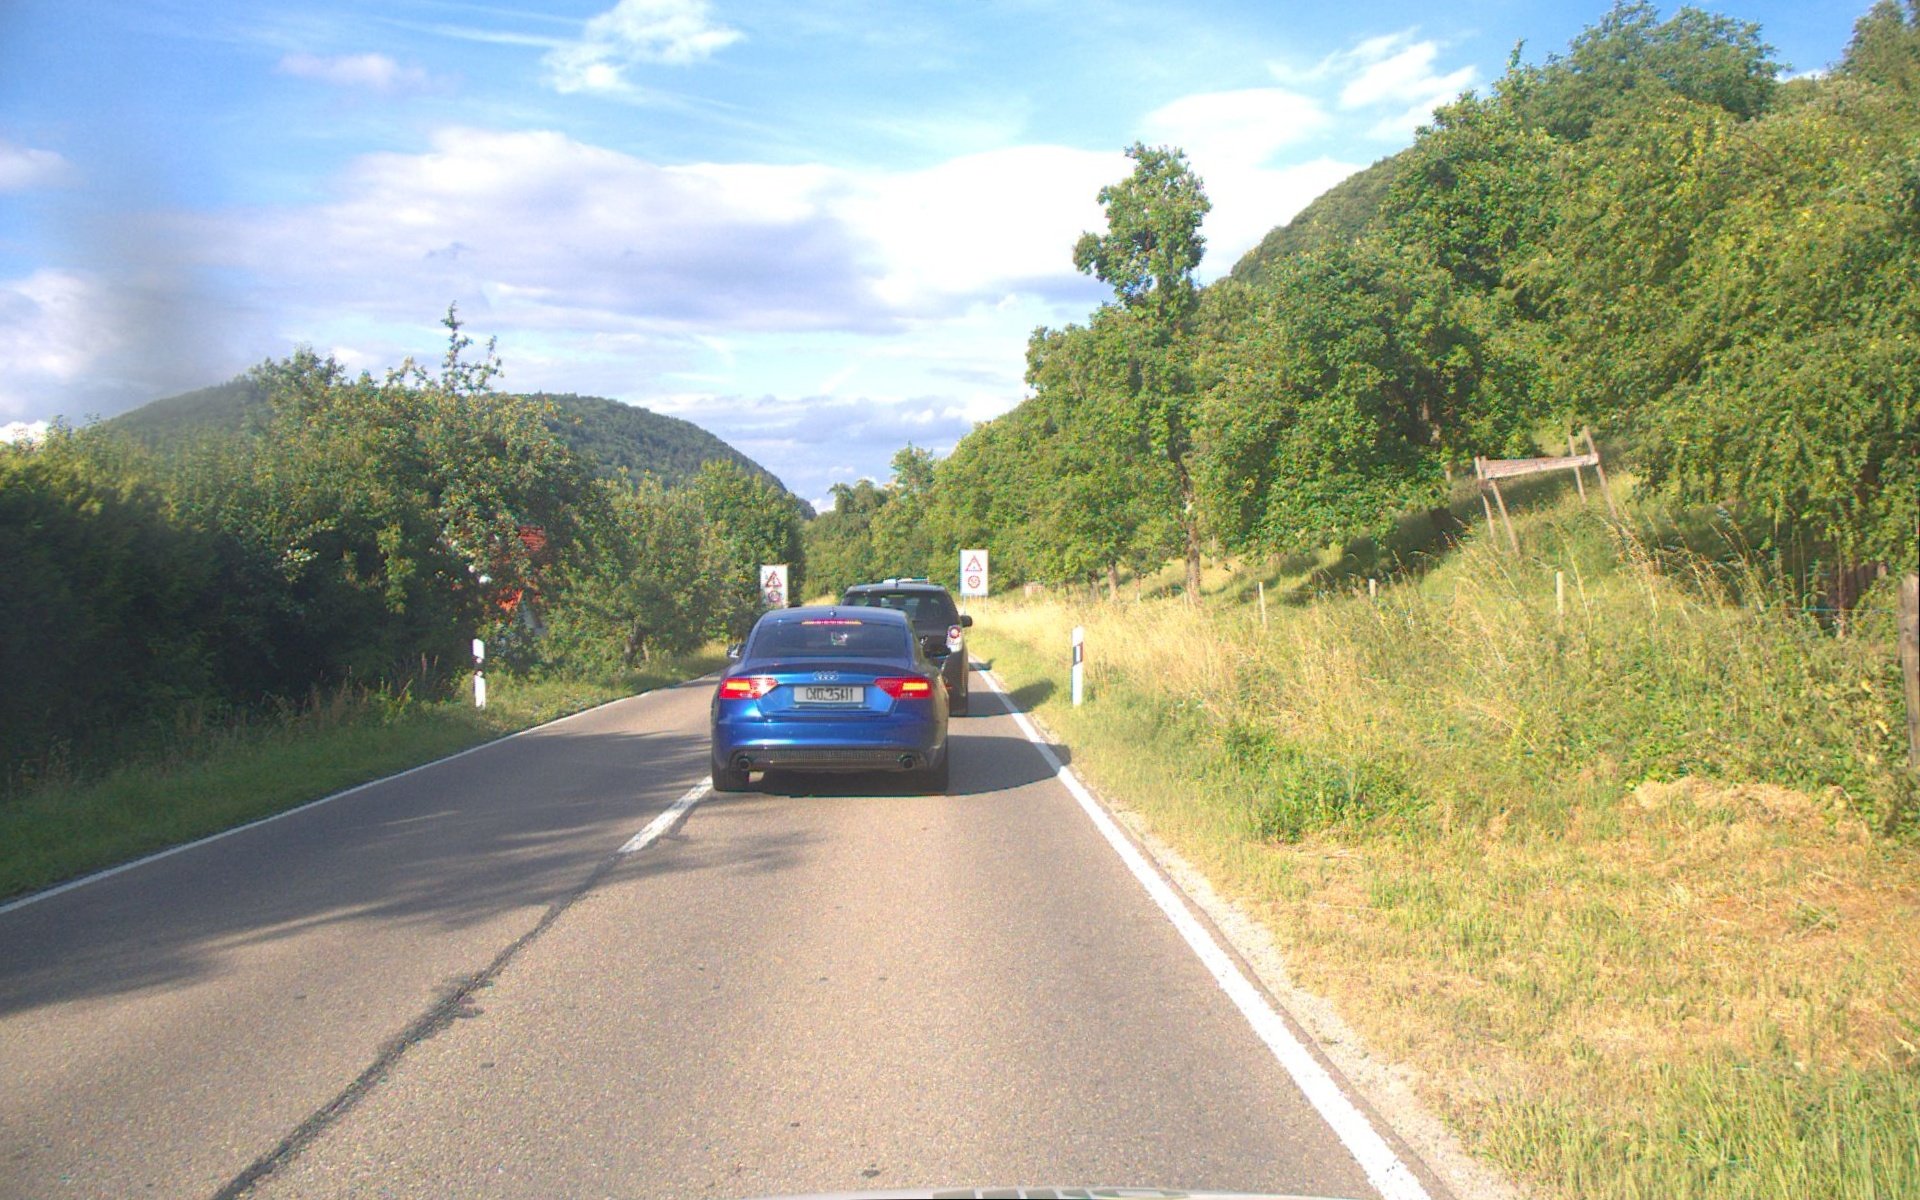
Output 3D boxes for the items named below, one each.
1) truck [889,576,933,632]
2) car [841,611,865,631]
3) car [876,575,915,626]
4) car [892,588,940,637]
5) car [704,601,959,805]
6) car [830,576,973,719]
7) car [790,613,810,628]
[{"bbox_3d":[-2.243,0.169,74.617,1.911,2.386,5.091,1,0,-3],"label":"truck"},{"bbox_3d":[-8.827,1.707,136.350,1.530,1.522,3.769,1,0,-10],"label":"car"},{"bbox_3d":[-3.330,0.035,84.805,1.757,2.496,3.915,1,0,-5],"label":"car"},{"bbox_3d":[-1.564,0.411,58.421,1.658,1.652,3.788,0,0,-2],"label":"car"},{"bbox_3d":[-0.945,0.721,13.652,1.769,1.406,4.213,0,0,-1],"label":"car"},{"bbox_3d":[-0.744,0.545,21.130,1.658,1.652,3.788,0,0,-2],"label":"car"},{"bbox_3d":[-16.745,2.108,173.400,1.532,1.522,3.764,1,0,-14],"label":"car"}]
